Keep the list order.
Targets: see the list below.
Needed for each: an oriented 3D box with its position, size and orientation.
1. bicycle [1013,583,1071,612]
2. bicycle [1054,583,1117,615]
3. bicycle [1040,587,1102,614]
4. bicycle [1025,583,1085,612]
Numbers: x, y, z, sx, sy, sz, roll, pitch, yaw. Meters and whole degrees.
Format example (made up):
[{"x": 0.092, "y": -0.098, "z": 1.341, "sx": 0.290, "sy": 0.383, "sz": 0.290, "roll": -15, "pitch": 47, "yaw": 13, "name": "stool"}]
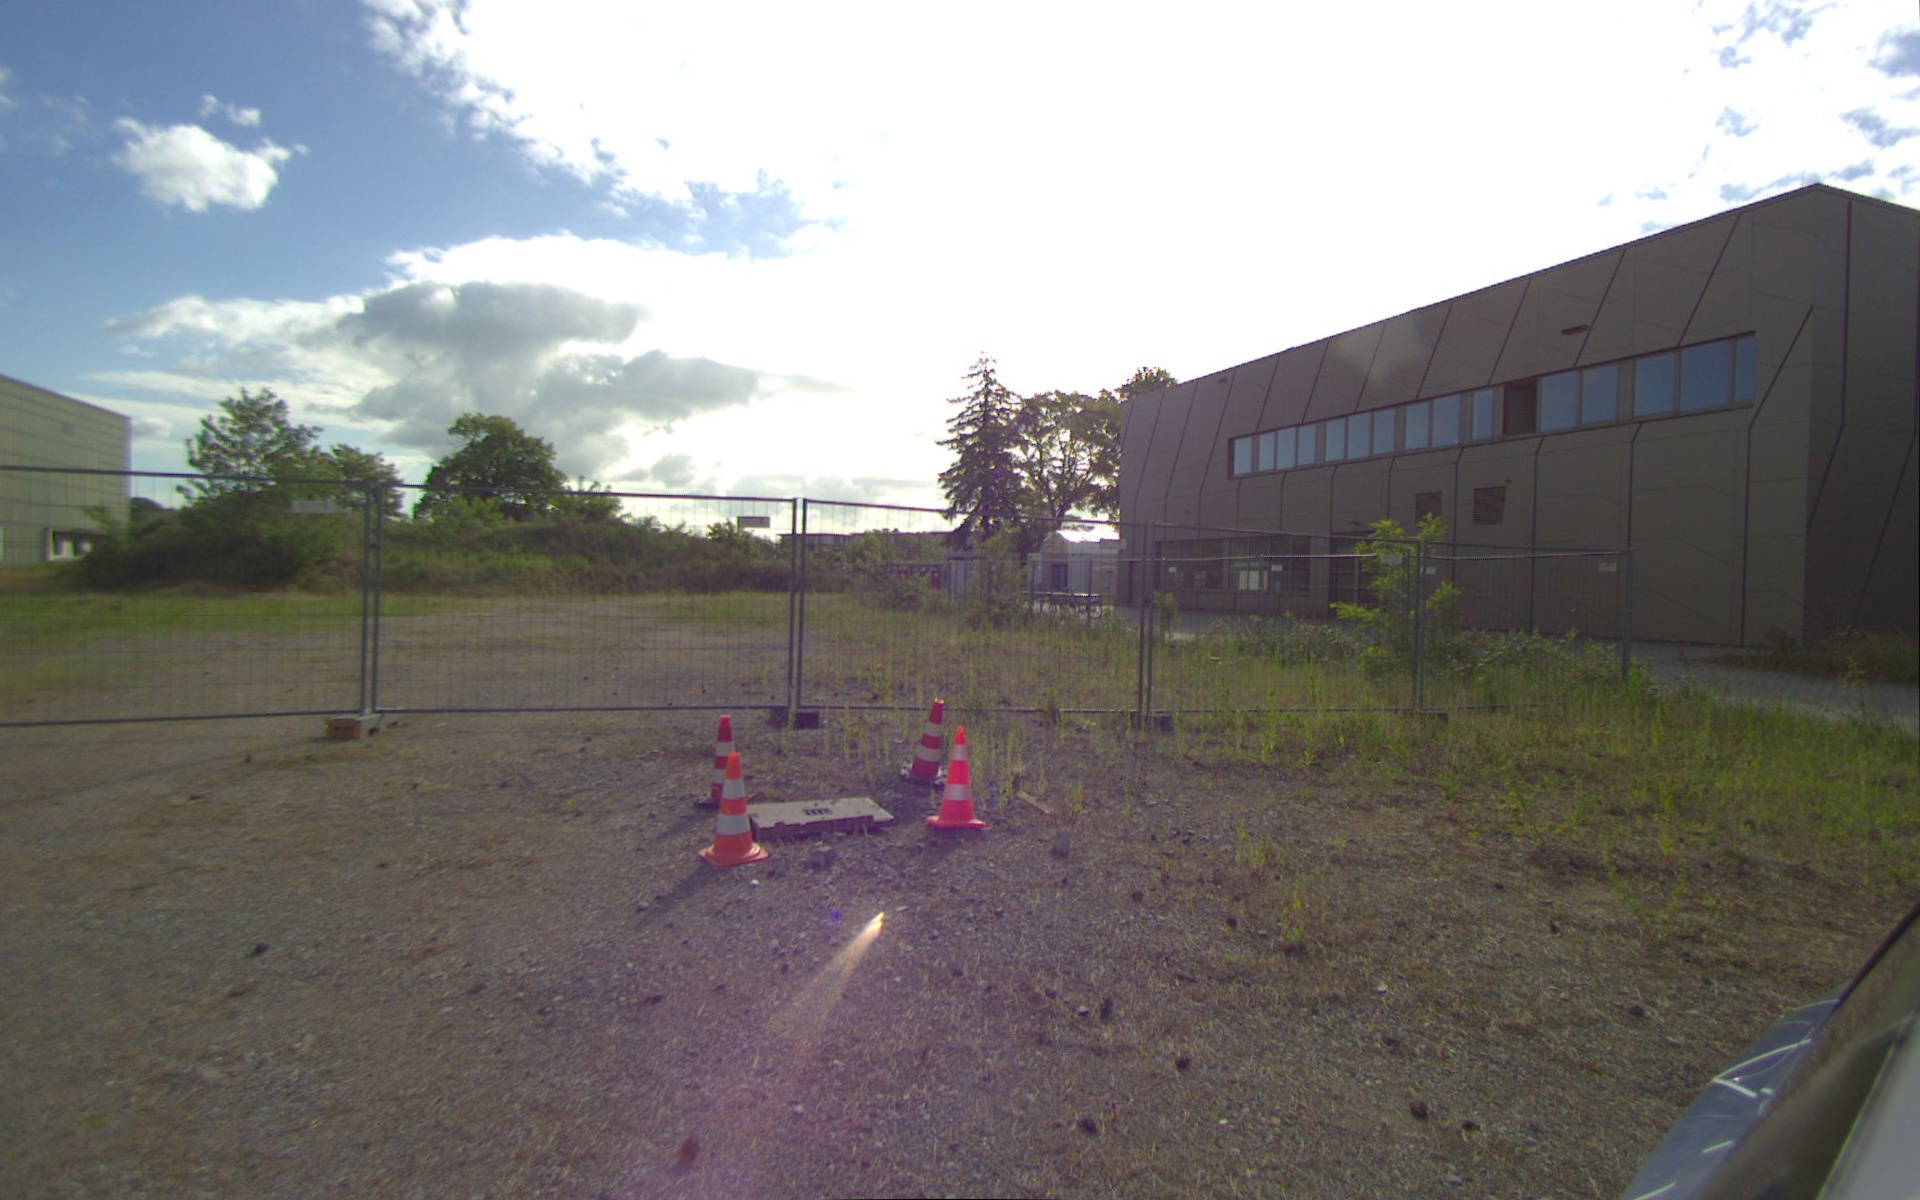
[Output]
[{"x": 3.158, "y": -0.100, "z": 39.126, "sx": 2.026, "sy": 1.057, "sz": 0.948, "roll": 1, "pitch": 1, "yaw": -22, "name": "bicycle"}, {"x": 4.465, "y": -0.031, "z": 35.999, "sx": 2.026, "sy": 1.100, "sz": 0.948, "roll": 1, "pitch": 1, "yaw": -22, "name": "bicycle"}, {"x": 4.072, "y": 0.013, "z": 37.194, "sx": 2.026, "sy": 0.933, "sz": 0.948, "roll": 1, "pitch": 1, "yaw": -22, "name": "bicycle"}, {"x": 3.571, "y": -0.086, "z": 38.082, "sx": 2.026, "sy": 1.057, "sz": 0.948, "roll": 1, "pitch": 1, "yaw": -22, "name": "bicycle"}]
